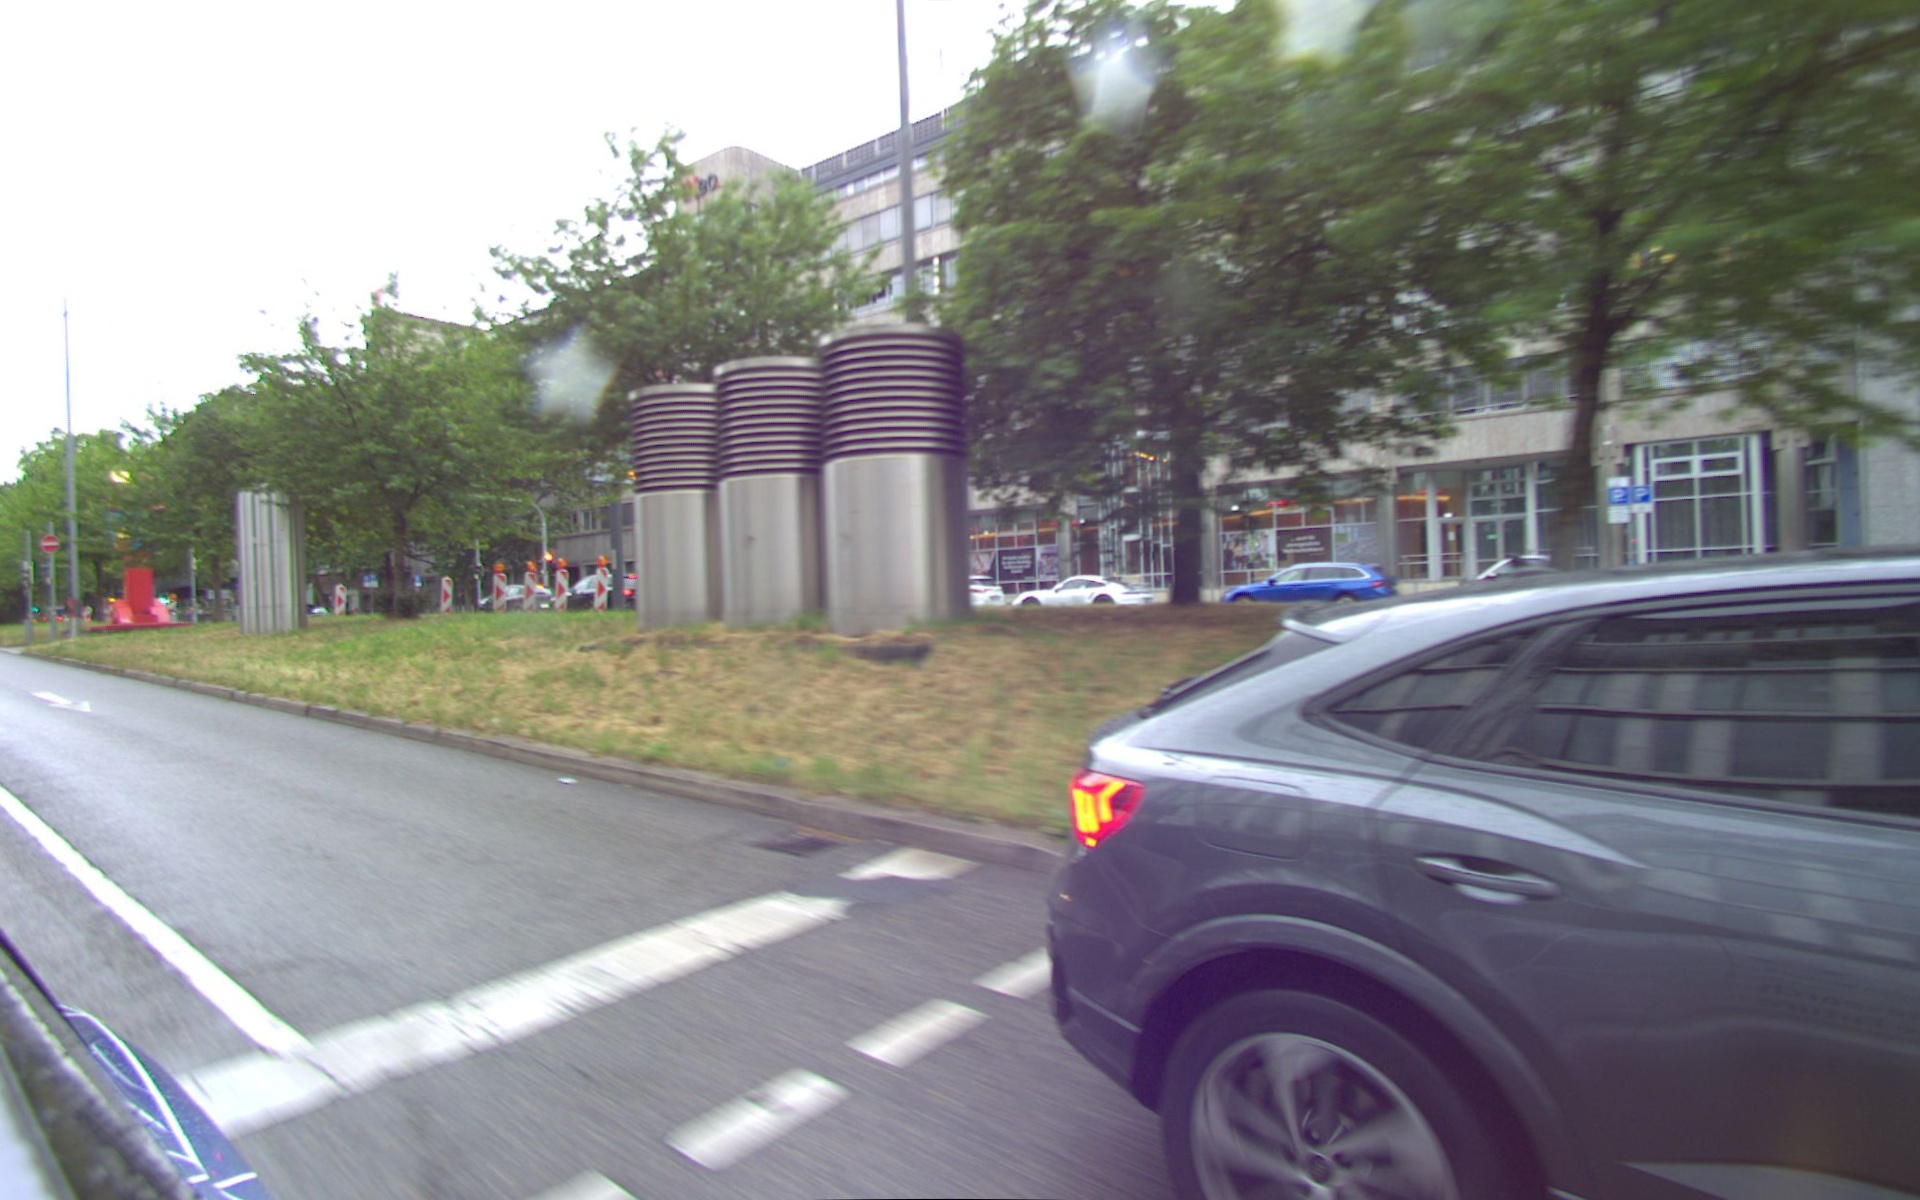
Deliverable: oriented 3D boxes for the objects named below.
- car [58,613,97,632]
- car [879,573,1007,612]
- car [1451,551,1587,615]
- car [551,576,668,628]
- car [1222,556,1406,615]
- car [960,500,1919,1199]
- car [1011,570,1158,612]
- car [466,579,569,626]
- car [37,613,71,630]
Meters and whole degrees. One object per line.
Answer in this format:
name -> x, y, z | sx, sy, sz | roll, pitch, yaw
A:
car -> -81.973, 2.110, 94.034 | 4.104, 1.599, 2.047 | -1, 2, 40
car -> -0.598, -0.231, 33.634 | 4.098, 1.130, 1.557 | -1, 2, 36
car -> 13.169, -0.397, 23.875 | 2.625, 1.395, 1.228 | -1, 2, 40
car -> -11.884, 0.081, 34.206 | 4.104, 1.592, 1.857 | -1, 2, 40
car -> 9.326, -0.374, 26.792 | 4.311, 1.395, 1.661 | -1, 2, 36
car -> 2.255, 0.607, 1.721 | 4.342, 1.529, 1.842 | -1, 1, 40
car -> 3.698, -0.257, 30.367 | 4.098, 1.130, 1.557 | -1, 2, 36
car -> -16.624, 0.108, 37.970 | 4.104, 1.592, 1.857 | -1, 2, 40
car -> -96.688, 2.309, 107.965 | 4.104, 1.599, 2.047 | -1, 2, 40
